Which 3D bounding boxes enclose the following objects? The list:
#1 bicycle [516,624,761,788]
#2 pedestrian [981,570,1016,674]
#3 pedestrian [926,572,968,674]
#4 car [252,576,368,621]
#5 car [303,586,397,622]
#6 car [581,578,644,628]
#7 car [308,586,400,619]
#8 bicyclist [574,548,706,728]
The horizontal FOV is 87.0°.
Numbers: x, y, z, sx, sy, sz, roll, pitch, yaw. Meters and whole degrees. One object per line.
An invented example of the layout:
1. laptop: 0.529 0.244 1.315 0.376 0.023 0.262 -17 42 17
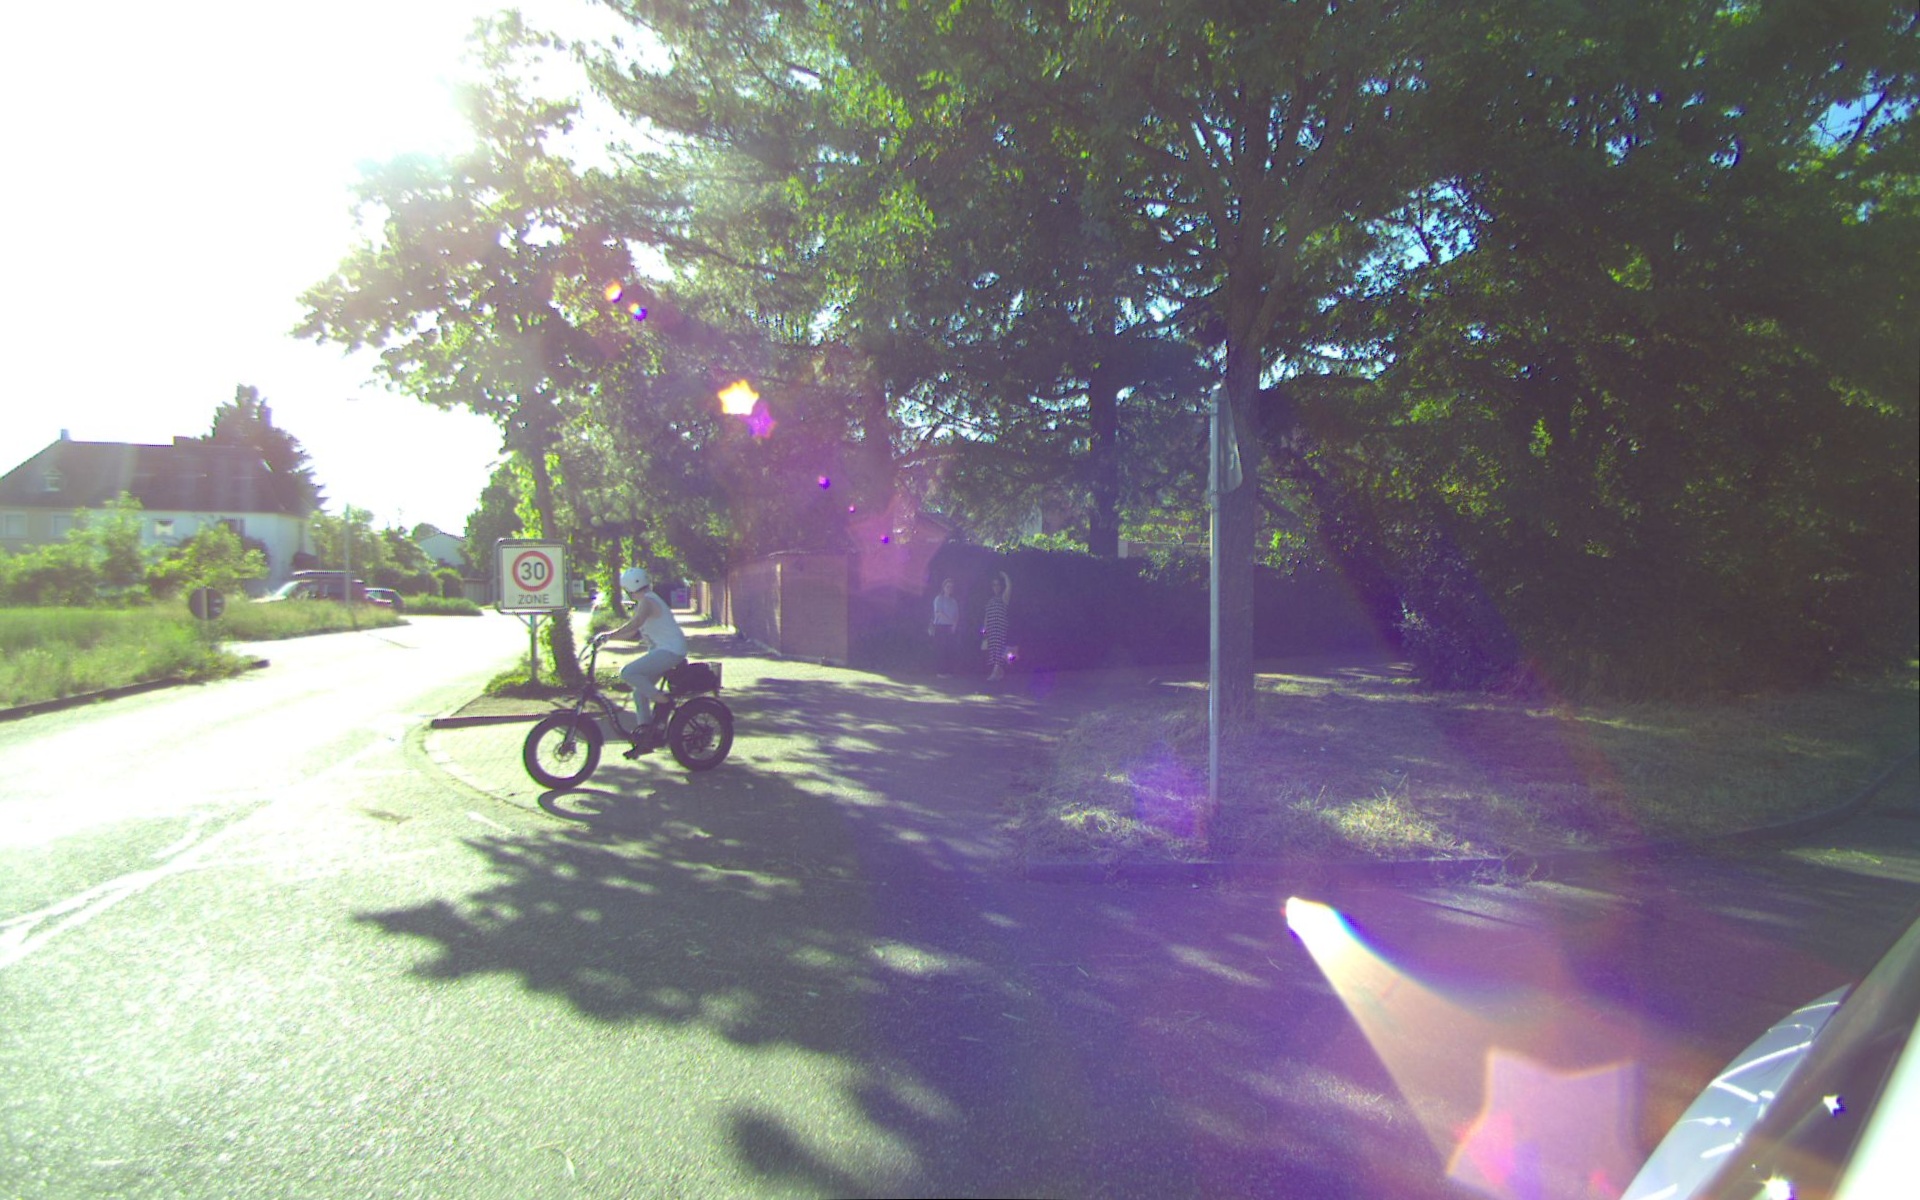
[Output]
1. bicycle: -2.559 0.796 8.219 1.864 1.159 0.458 0 1 -40
2. pedestrian: 0.597 0.323 15.671 0.388 1.580 0.540 1 1 -13
3. pedestrian: -0.198 0.342 15.689 0.529 1.539 0.395 -1 1 -40
4. car: -26.154 -0.091 40.787 1.739 1.738 3.601 1 1 38
5. car: -26.384 0.139 43.821 3.333 1.459 1.614 -1 1 -38
6. car: -12.678 0.054 36.802 1.958 1.679 4.009 0 1 -22
7. car: -27.766 0.076 46.392 3.472 1.434 1.679 -1 1 -38
8. bicyclist: -2.587 0.269 8.185 0.824 1.364 0.638 -2 2 -40
